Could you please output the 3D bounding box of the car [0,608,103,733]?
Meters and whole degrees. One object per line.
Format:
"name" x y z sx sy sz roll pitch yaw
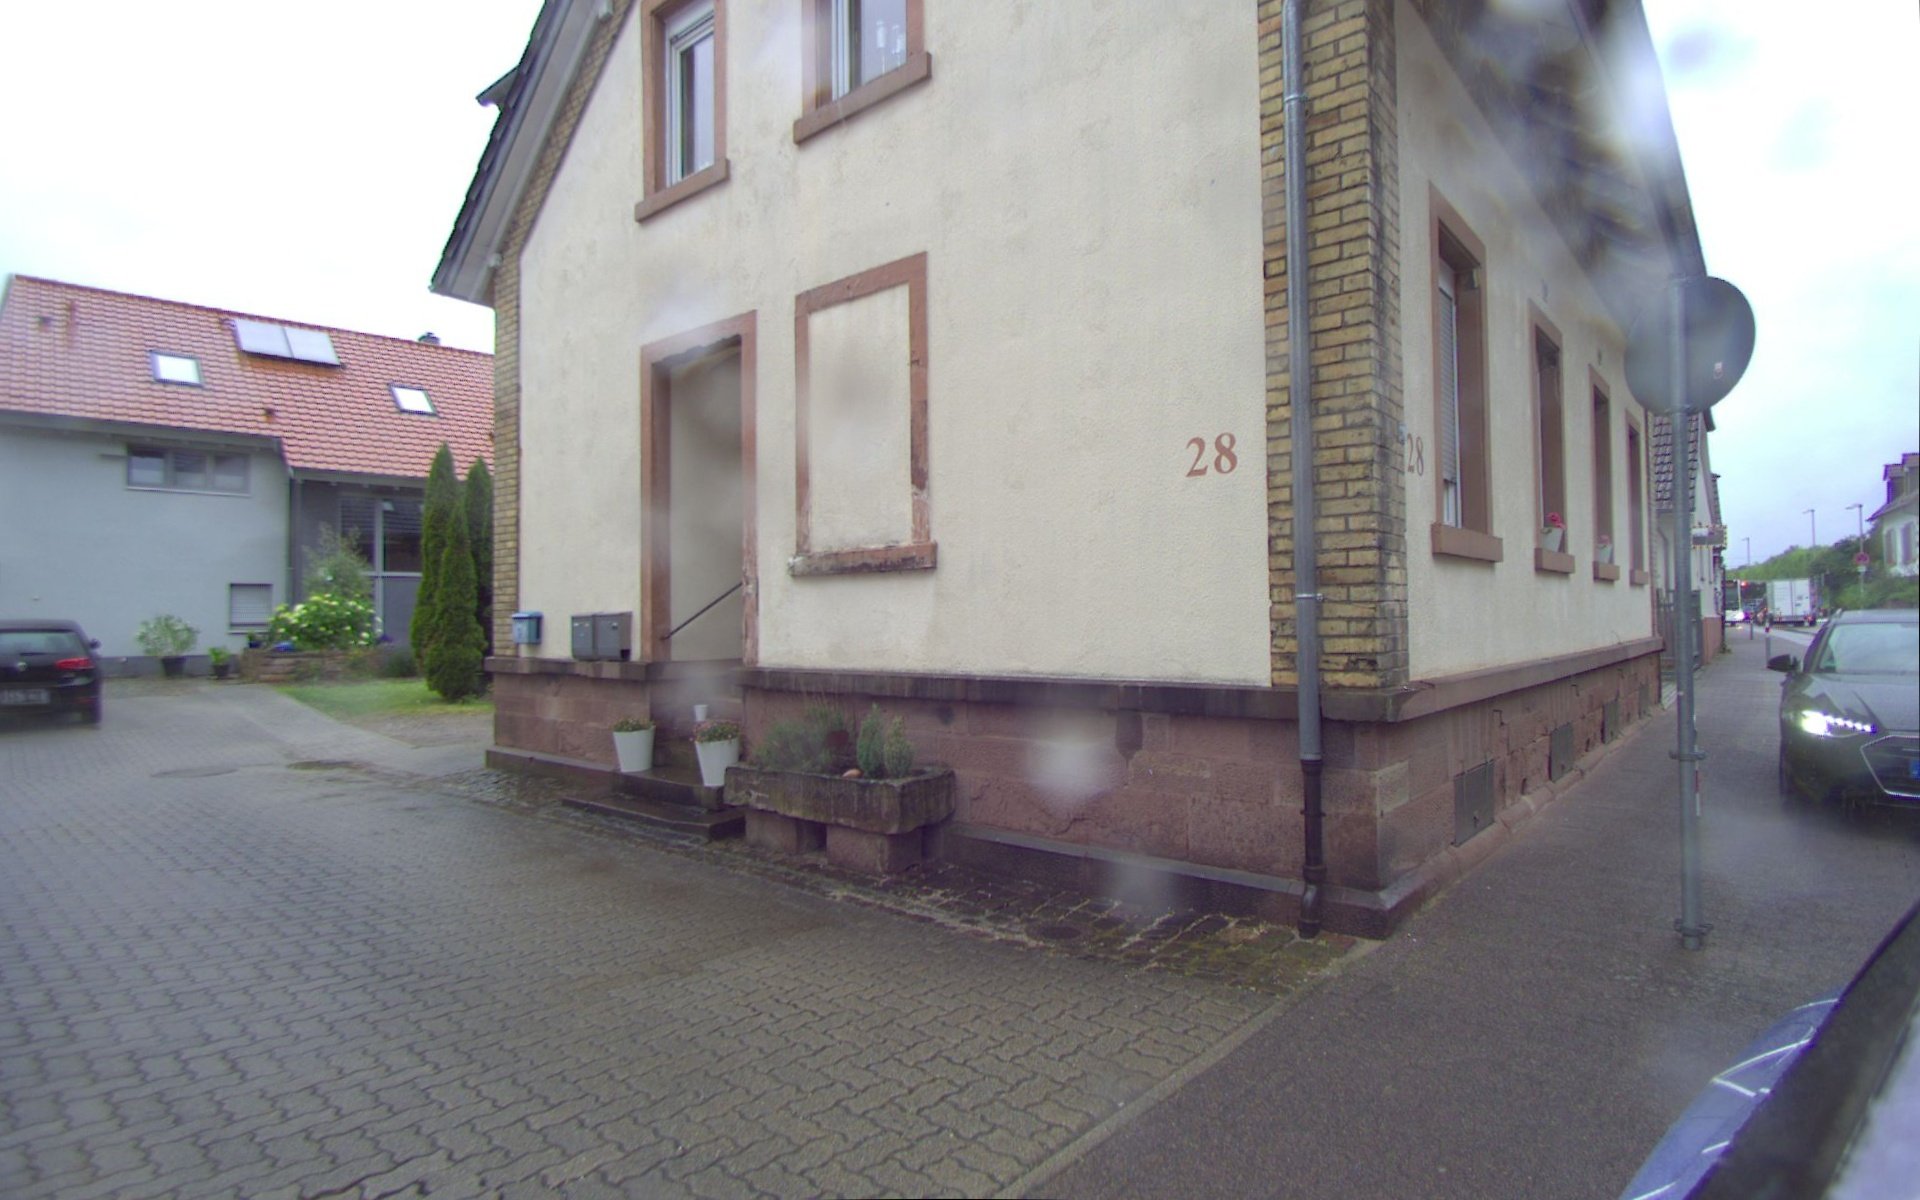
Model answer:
"car" -13.943 0.950 15.113 1.655 1.491 3.993 0 2 -42

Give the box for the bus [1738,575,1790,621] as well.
"bus" 62.120 -0.194 78.339 2.654 3.273 12.032 0 0 36

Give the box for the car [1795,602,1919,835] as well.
"car" 7.370 0.729 7.542 1.732 1.388 4.044 0 0 39

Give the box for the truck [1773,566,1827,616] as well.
"truck" 44.911 -0.475 54.168 1.989 2.536 5.574 0 0 38

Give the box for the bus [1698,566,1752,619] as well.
"bus" 51.372 -0.552 68.160 2.654 3.273 12.032 0 0 36
